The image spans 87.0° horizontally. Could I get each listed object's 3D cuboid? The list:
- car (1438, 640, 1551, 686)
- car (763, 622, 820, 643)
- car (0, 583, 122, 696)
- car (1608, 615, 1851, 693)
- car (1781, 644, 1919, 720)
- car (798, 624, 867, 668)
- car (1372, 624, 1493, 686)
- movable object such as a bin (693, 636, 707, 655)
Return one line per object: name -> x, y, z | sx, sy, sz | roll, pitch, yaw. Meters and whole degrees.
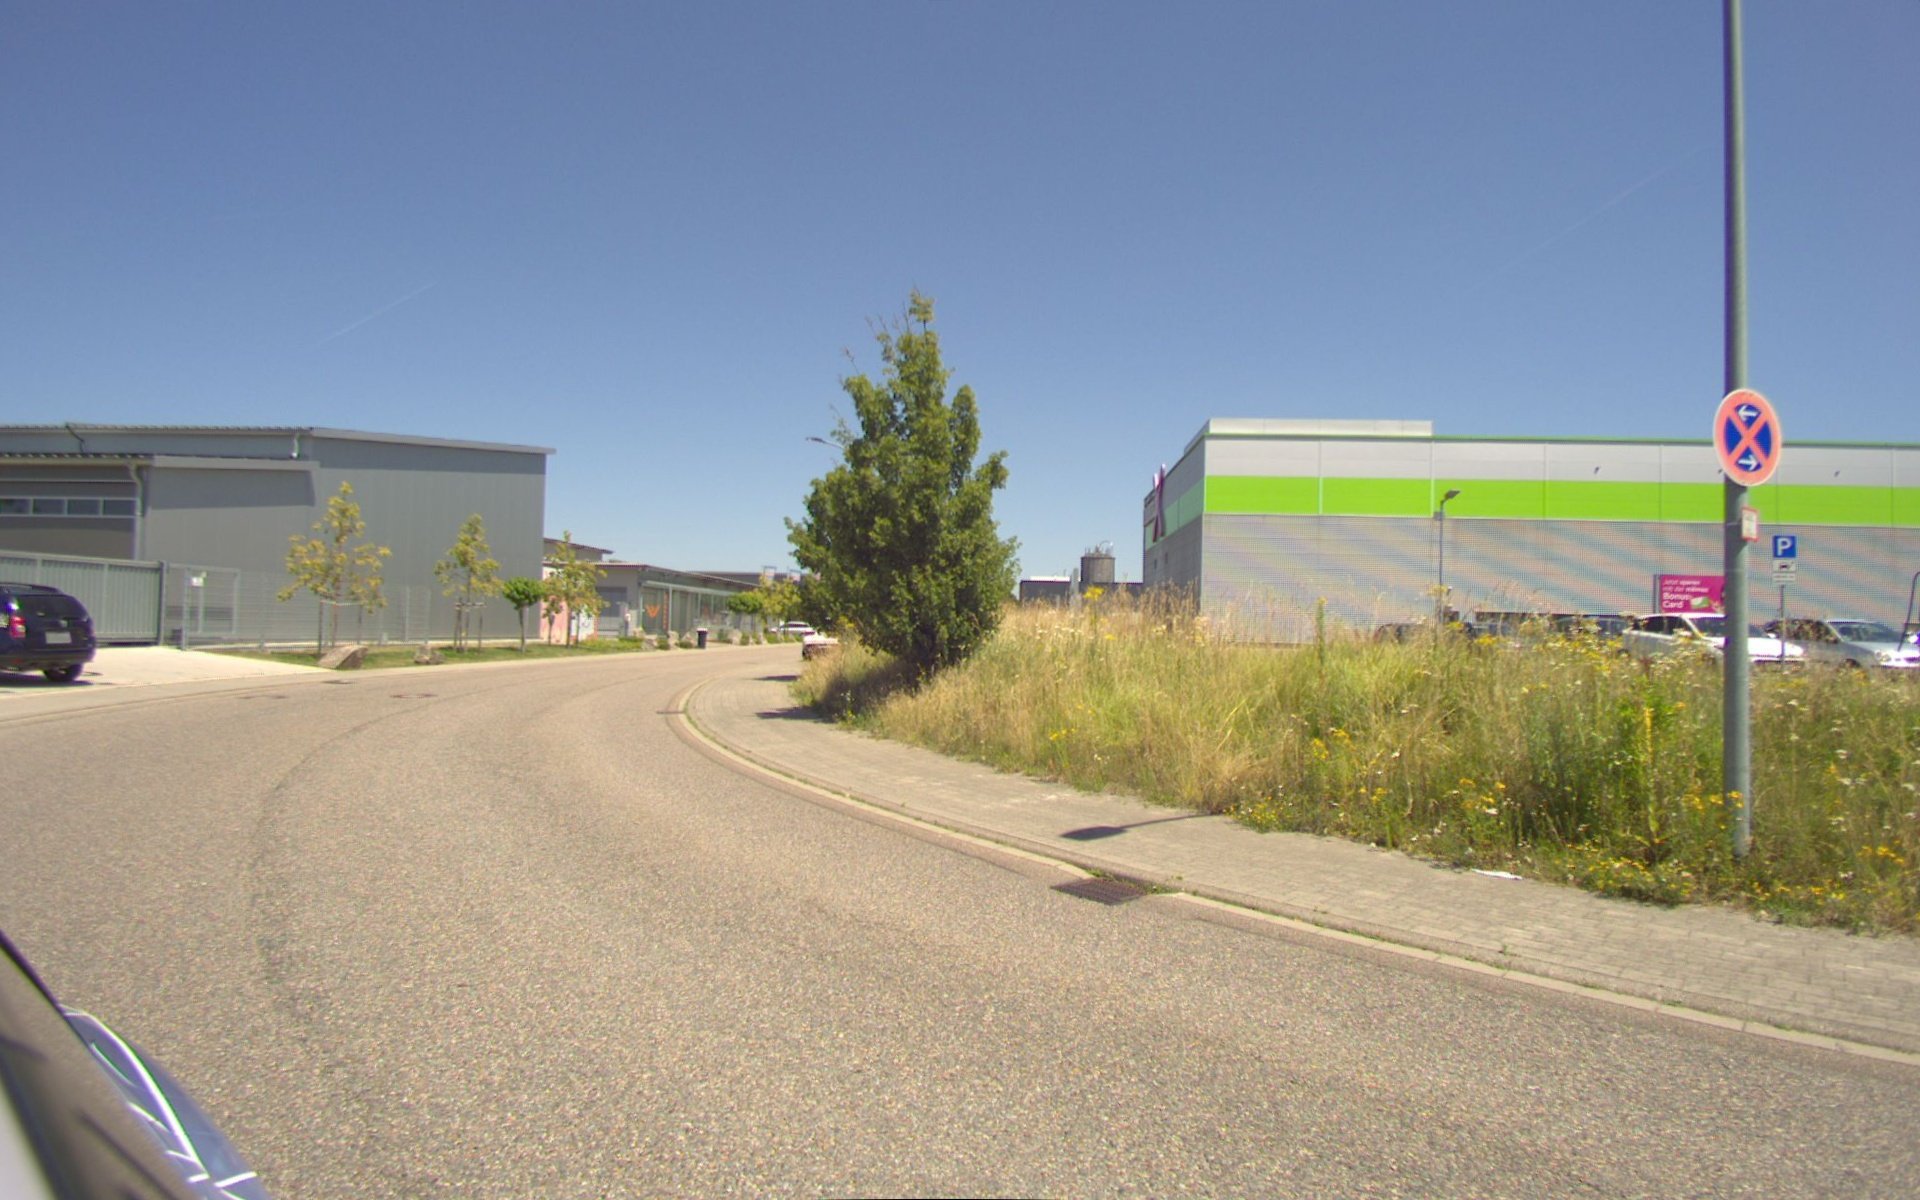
car -> 16.638, 1.944, 31.696 | 1.471, 1.335, 3.998 | 1, -2, 1
car -> -13.746, 2.659, 82.713 | 4.235, 1.553, 1.912 | 2, -2, 1
car -> -16.910, 0.525, 17.065 | 3.972, 1.667, 1.856 | 6, -2, 4
car -> 15.641, 1.094, 20.887 | 1.973, 1.423, 3.998 | 1, -2, 1
car -> 18.636, 1.590, 20.081 | 1.620, 1.410, 3.796 | 1, -2, 1
car -> -5.058, 1.822, 40.785 | 1.893, 1.668, 4.749 | 1, -2, 3
car -> 14.699, 1.709, 31.753 | 1.973, 1.790, 3.998 | 1, -2, 1
movable object such as a bin -> -13.248, 2.324, 51.588 | 0.553, 0.954, 0.539 | 2, -2, 3
